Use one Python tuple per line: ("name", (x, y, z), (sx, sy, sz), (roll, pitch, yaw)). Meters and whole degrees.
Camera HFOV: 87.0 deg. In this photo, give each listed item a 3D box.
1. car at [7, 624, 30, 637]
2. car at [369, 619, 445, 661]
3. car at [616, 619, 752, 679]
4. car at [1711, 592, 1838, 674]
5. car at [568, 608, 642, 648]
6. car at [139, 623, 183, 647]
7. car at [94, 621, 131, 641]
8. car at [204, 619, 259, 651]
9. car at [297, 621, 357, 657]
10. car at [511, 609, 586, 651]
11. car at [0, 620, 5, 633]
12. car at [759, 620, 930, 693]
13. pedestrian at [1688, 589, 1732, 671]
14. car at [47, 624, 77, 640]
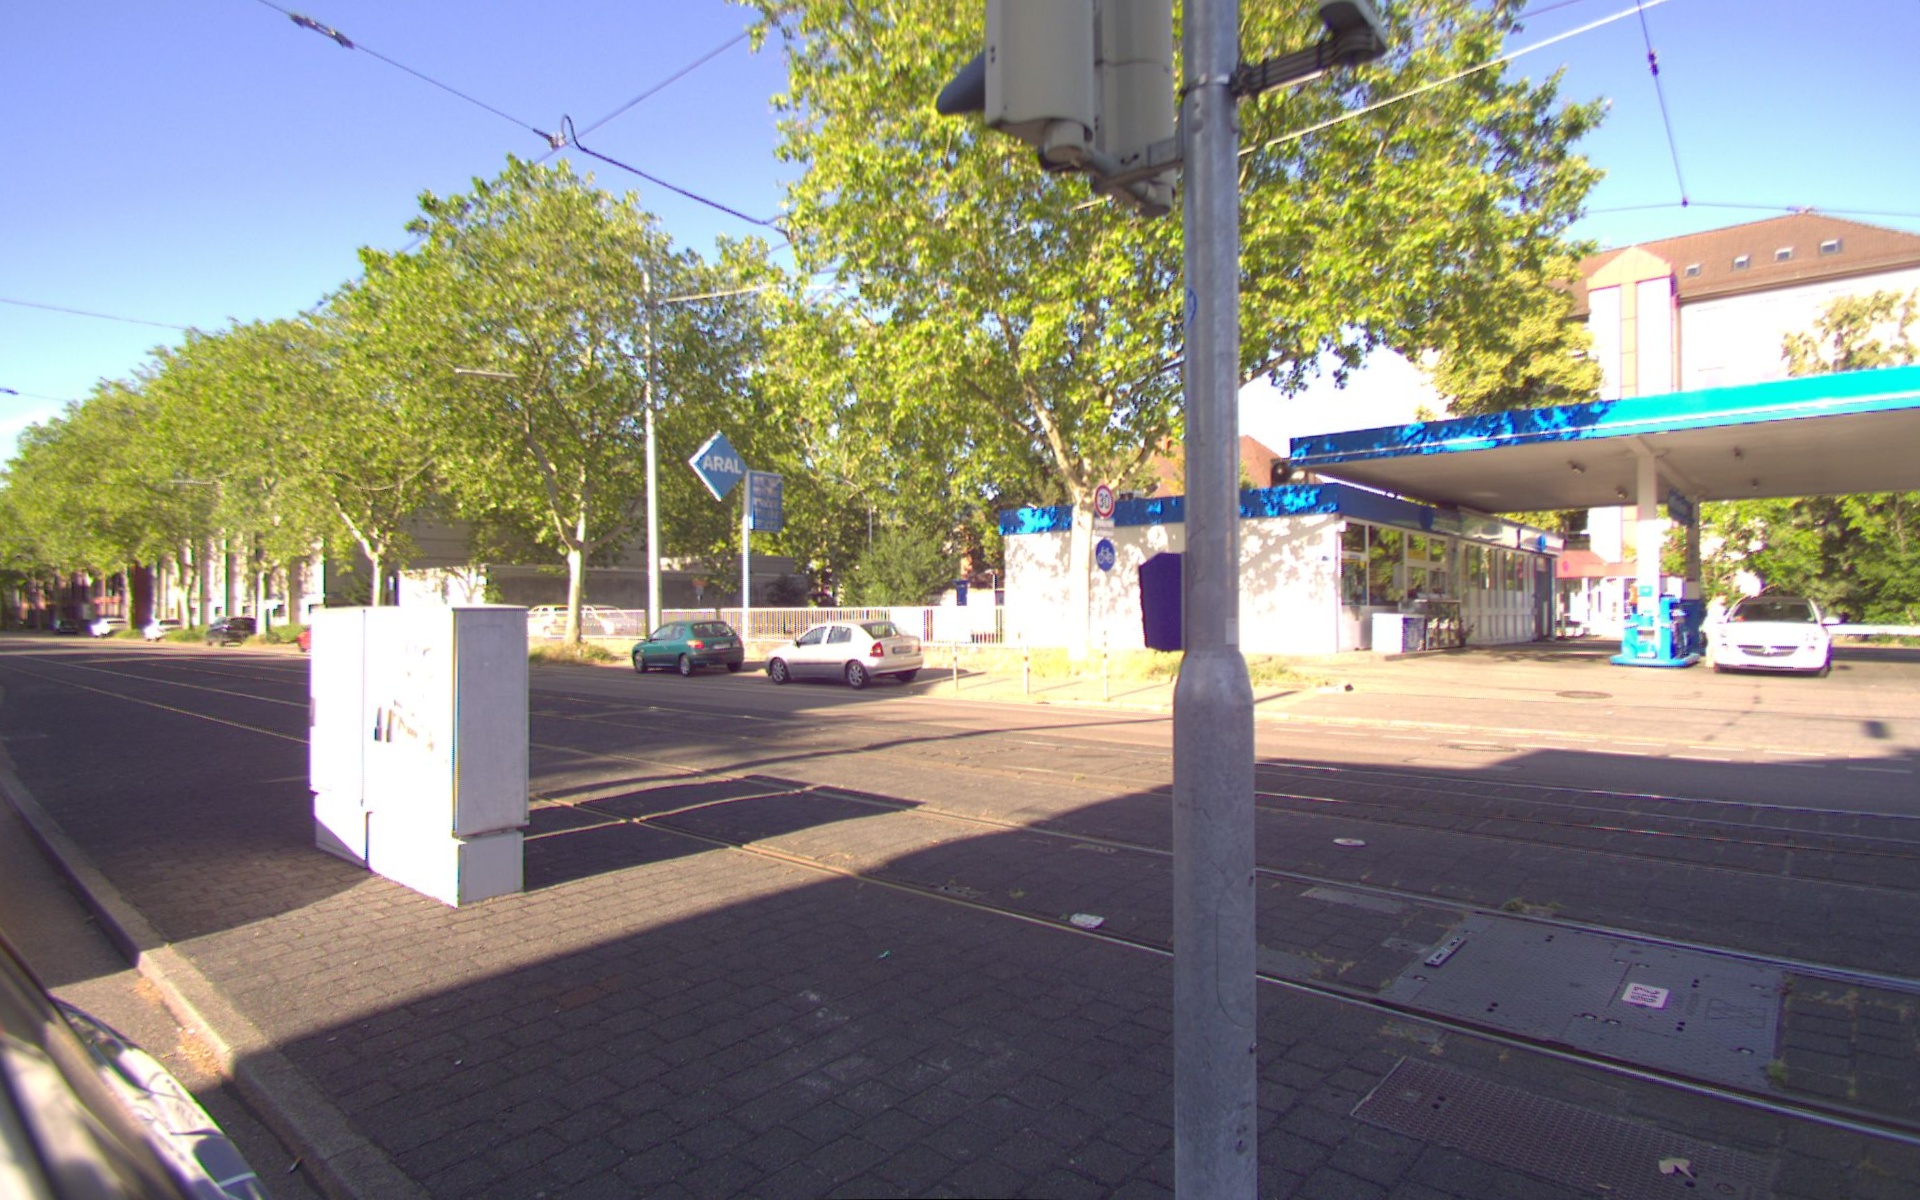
("car", (-112.131, 3.577, 120.505), (3.748, 1.459, 1.674), (-1, 1, 41))
("car", (-21.873, 1.562, 39.998), (3.303, 1.519, 1.579), (-1, 1, 41))
("car", (-7.398, 1.268, 26.966), (3.748, 1.413, 1.674), (-1, 1, 41))
("car", (15.888, 0.611, 19.690), (1.757, 1.453, 3.521), (-1, -1, 41))
("car", (-15.262, 1.199, 43.443), (3.303, 1.604, 1.579), (-1, 0, 41))
("car", (-53.856, 2.350, 68.176), (3.748, 1.459, 1.674), (-1, 1, 41))
("car", (-66.673, 2.455, 79.604), (3.748, 1.459, 1.674), (-1, 1, 41))
("car", (-40.672, 1.946, 56.450), (3.748, 1.670, 1.674), (-1, 1, 41))
("car", (-28.683, 1.761, 45.826), (2.621, 1.519, 1.579), (-1, 1, 41))
("car", (-17.081, 1.235, 41.966), (3.303, 1.628, 1.579), (-1, 0, 41))
("car", (-133.921, 3.694, 140.474), (3.748, 1.798, 1.674), (-1, 1, 41))
("car", (-2.634, 1.207, 22.637), (3.812, 1.413, 1.674), (-1, 1, 41))
("pedestrian", (16.015, 0.639, 21.614), (0.493, 1.714, 0.649), (1, -2, -45))
("car", (-85.233, 3.041, 96.043), (3.748, 1.459, 1.674), (-1, 1, 41))
